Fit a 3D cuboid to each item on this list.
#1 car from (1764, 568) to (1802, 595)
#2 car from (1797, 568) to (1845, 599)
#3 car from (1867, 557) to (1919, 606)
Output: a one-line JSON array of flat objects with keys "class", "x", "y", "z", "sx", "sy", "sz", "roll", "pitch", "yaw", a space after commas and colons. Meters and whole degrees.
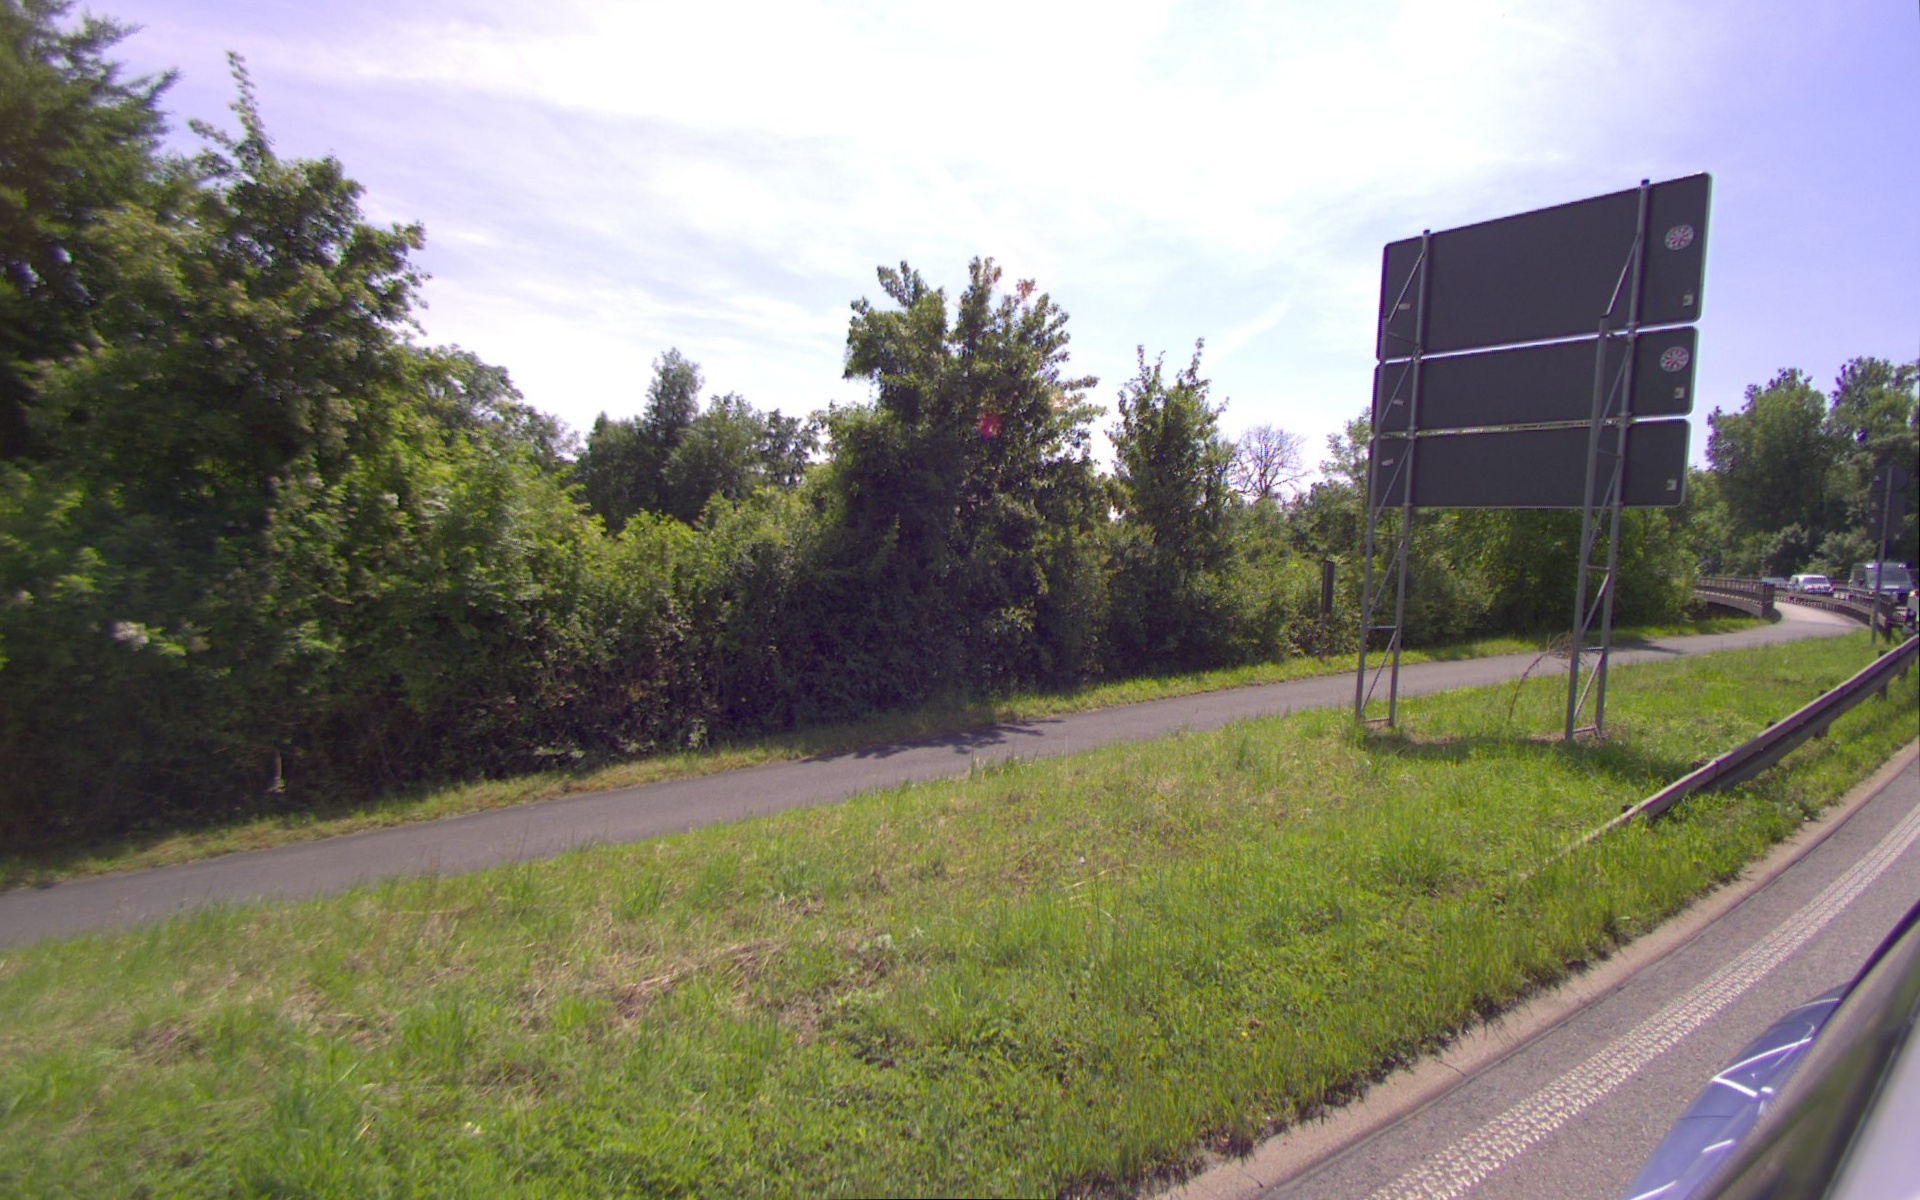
[{"class": "car", "x": 67.338, "y": -1.541, "z": 82.835, "sx": 1.985, "sy": 2.038, "sz": 3.955, "roll": 0, "pitch": 2, "yaw": 33}, {"class": "car", "x": 59.625, "y": -1.177, "z": 70.137, "sx": 1.986, "sy": 2.038, "sz": 4.658, "roll": 0, "pitch": 2, "yaw": 33}, {"class": "car", "x": 50.496, "y": -1.036, "z": 54.520, "sx": 1.988, "sy": 2.515, "sz": 4.796, "roll": 0, "pitch": 2, "yaw": 37}]
